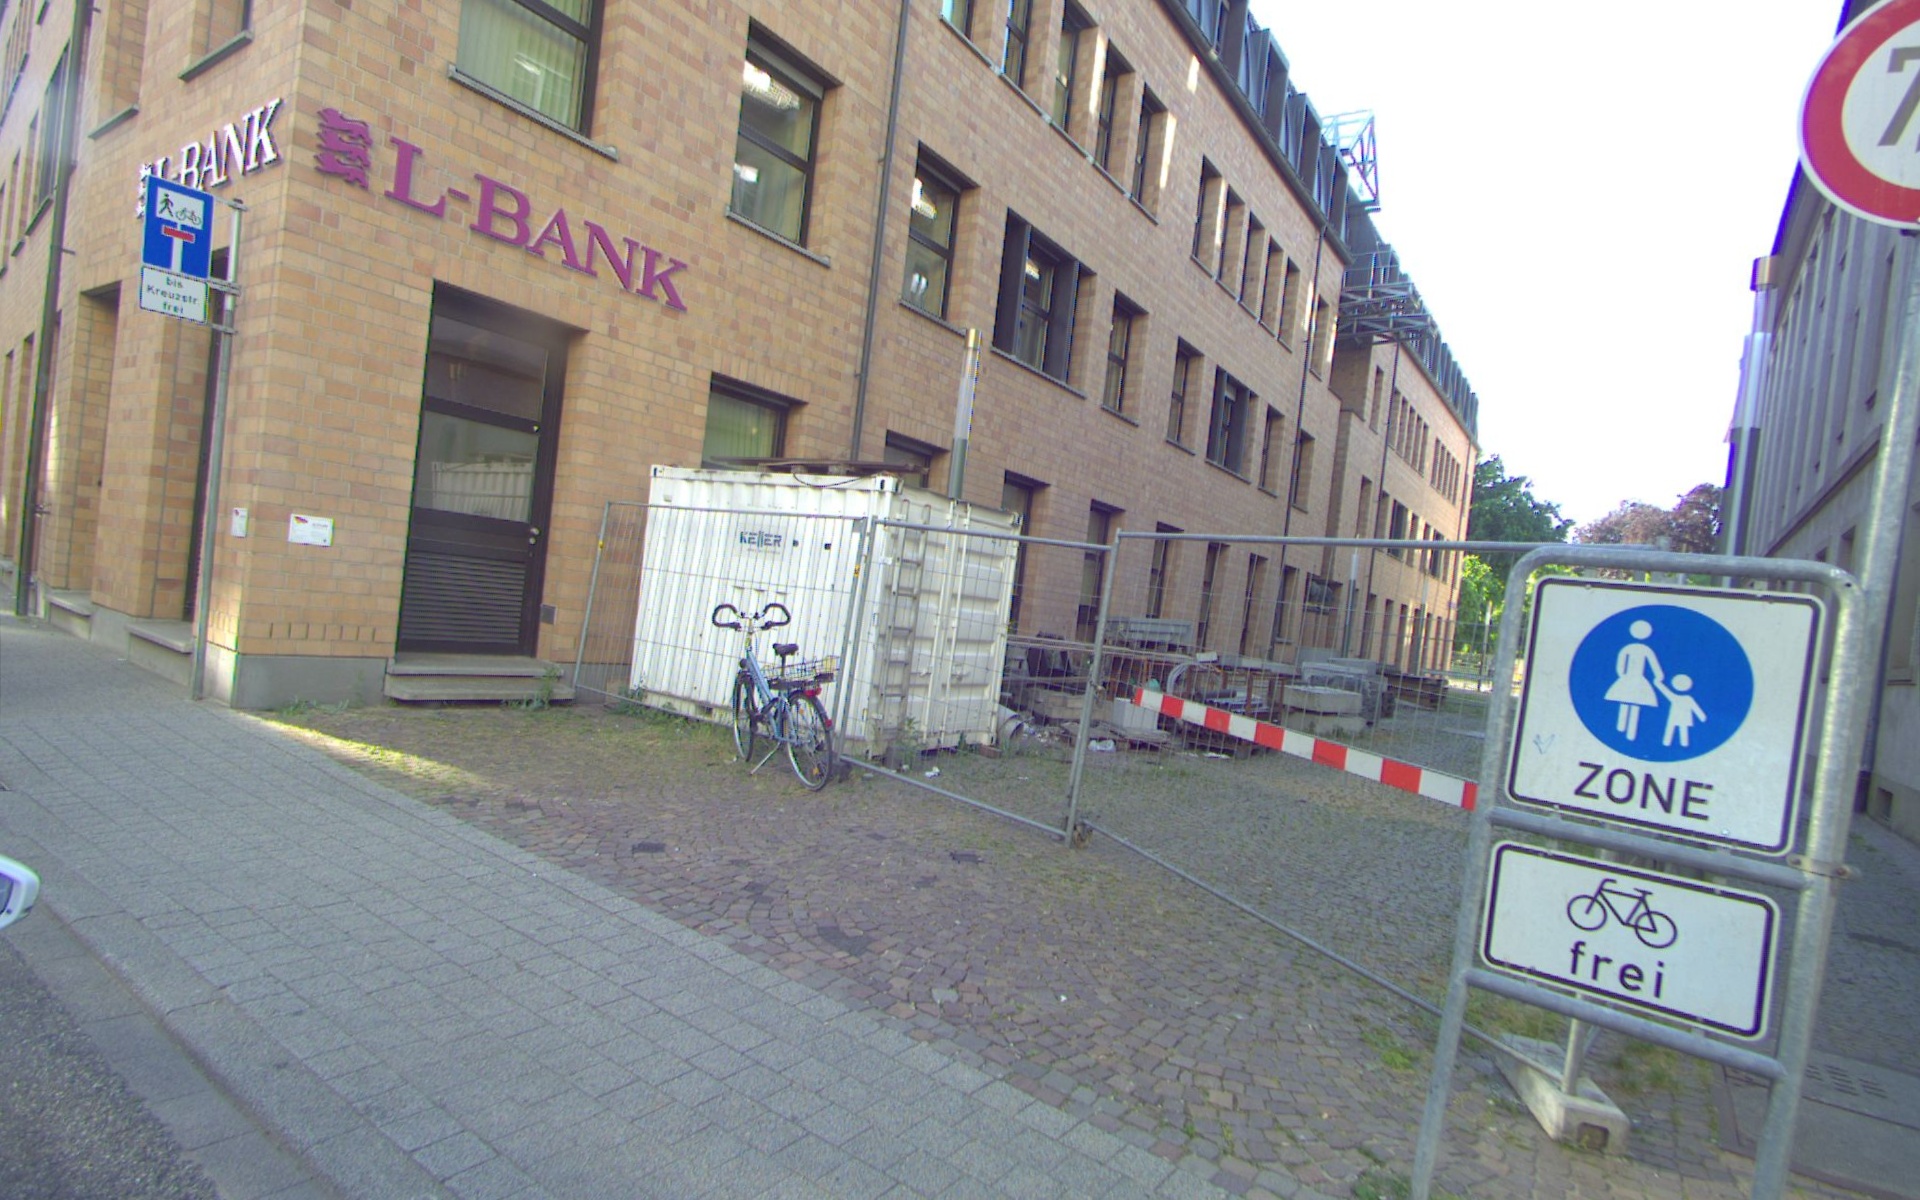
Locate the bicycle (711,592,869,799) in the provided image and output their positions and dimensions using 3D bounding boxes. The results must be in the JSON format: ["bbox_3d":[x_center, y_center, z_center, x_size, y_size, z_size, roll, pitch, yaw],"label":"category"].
[{"bbox_3d":[-1.282,0.640,7.337,0.317,1.266,1.566,6,1,-37],"label":"bicycle"}]
